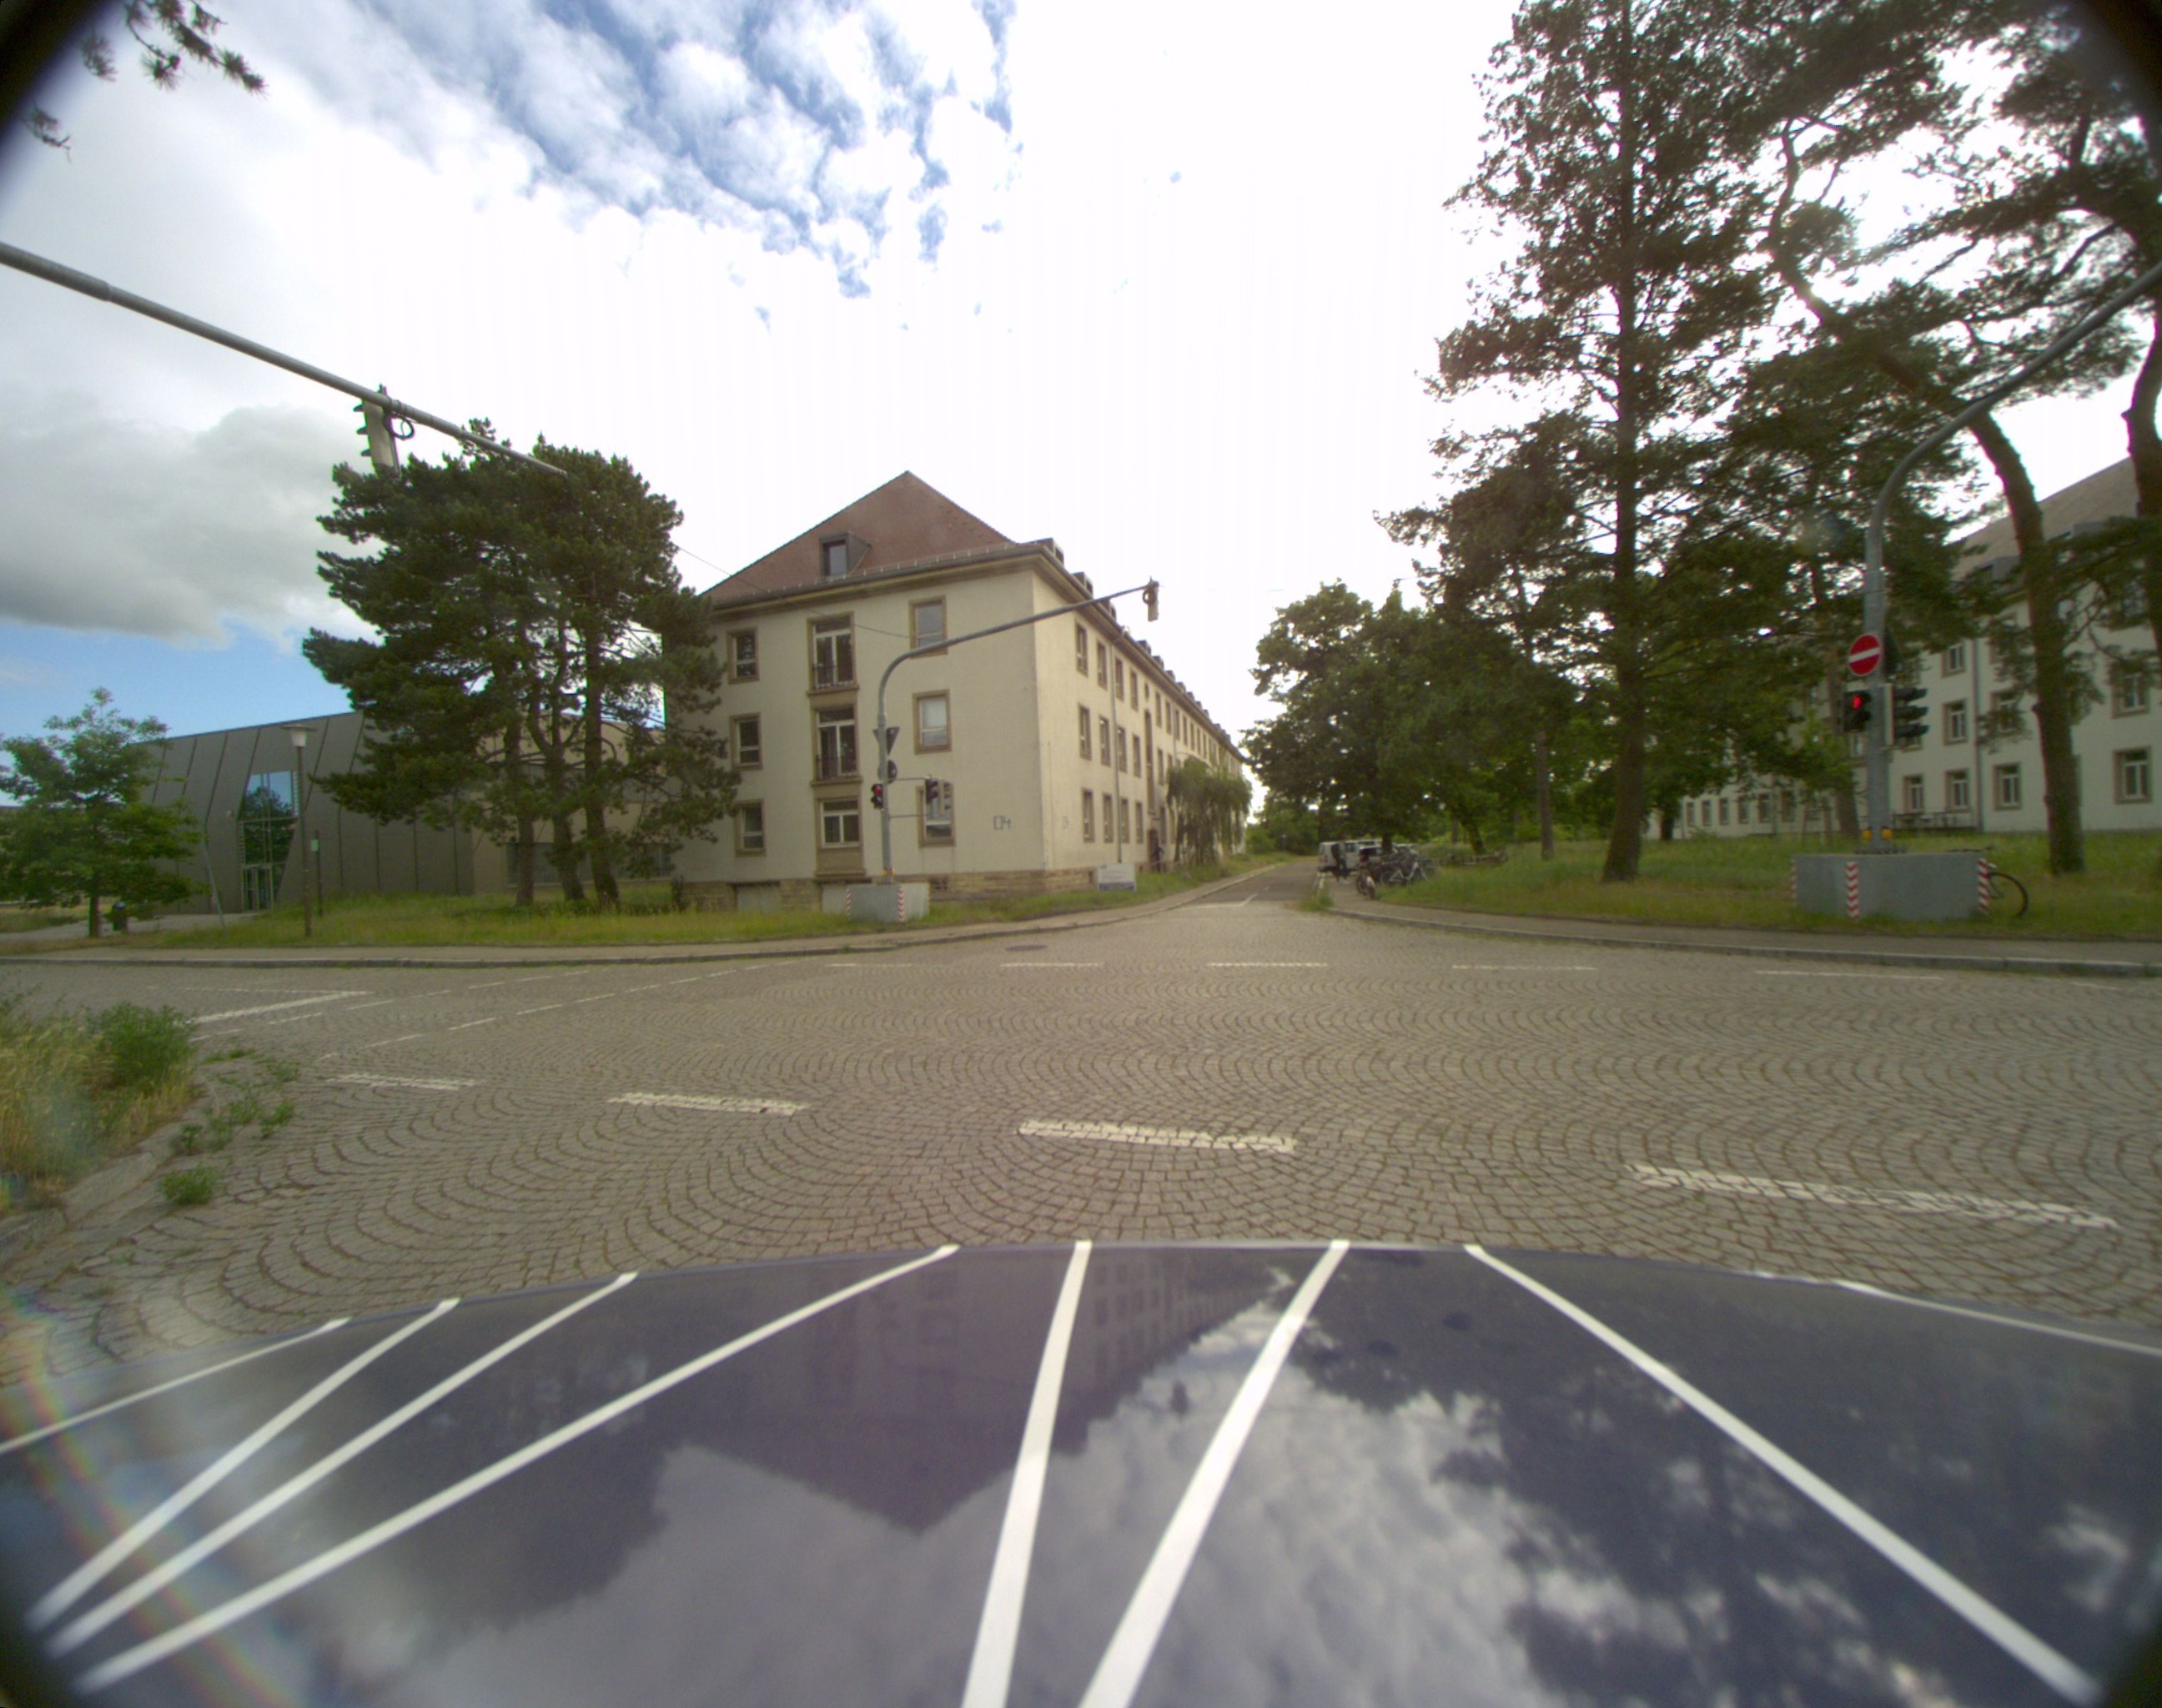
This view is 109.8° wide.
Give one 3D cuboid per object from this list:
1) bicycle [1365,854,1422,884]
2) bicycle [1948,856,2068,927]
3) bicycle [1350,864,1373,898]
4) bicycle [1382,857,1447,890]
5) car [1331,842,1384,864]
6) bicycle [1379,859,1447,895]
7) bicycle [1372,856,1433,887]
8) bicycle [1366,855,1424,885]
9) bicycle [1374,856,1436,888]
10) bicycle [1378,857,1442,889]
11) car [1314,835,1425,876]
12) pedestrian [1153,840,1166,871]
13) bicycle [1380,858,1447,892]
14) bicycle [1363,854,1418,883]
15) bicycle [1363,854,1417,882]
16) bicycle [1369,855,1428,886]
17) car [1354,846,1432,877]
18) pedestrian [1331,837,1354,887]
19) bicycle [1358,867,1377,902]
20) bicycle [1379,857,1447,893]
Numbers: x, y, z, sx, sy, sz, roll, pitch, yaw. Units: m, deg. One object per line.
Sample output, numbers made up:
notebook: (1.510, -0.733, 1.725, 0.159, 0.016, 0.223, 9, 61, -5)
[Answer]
bicycle: (12.085, 0.584, 29.437, 1.948, 1.059, 0.563, -2, 1, 16)
bicycle: (12.632, 0.492, 10.389, 0.293, 0.911, 1.053, -2, 0, -3)
bicycle: (8.608, 0.810, 23.289, 0.459, 0.968, 1.665, -2, 0, 27)
bicycle: (11.343, 0.674, 25.901, 1.948, 1.059, 0.563, -2, 1, 16)
car: (19.933, -0.048, 54.942, 3.435, 1.440, 1.916, -2, 0, 17)
bicycle: (10.598, 0.729, 24.322, 1.896, 1.059, 0.617, -2, 1, 16)
bicycle: (11.625, 0.632, 27.501, 1.948, 1.059, 0.563, -2, 1, 16)
bicycle: (11.850, 0.604, 28.749, 1.948, 1.059, 0.563, -2, 1, 16)
bicycle: (11.480, 0.646, 26.980, 1.948, 1.059, 0.563, -2, 1, 16)
bicycle: (11.412, 0.663, 26.390, 1.948, 1.059, 0.563, -2, 1, 16)
car: (15.843, 0.099, 42.013, 5.359, 1.987, 2.292, -2, 0, 10)
pedestrian: (4.399, 0.091, 42.593, 0.567, 1.691, 0.533, -2, 1, 22)
bicycle: (11.062, 0.695, 25.311, 1.948, 1.059, 0.563, -2, 1, 16)
bicycle: (12.251, 0.568, 30.096, 1.948, 1.059, 0.563, -2, 1, 16)
bicycle: (12.442, 0.550, 30.665, 1.948, 1.059, 0.563, -2, 1, 16)
bicycle: (11.696, 0.621, 28.054, 1.948, 1.059, 0.563, -2, 1, 16)
car: (15.649, 0.370, 38.251, 3.435, 1.440, 1.916, -2, 0, 17)
pedestrian: (10.377, 0.308, 30.154, 0.792, 1.926, 0.589, -2, 1, 18)
bicycle: (8.124, 0.841, 21.528, 0.459, 0.903, 1.665, -2, 0, 22)
bicycle: (10.821, 0.688, 24.833, 1.948, 1.104, 0.563, -2, 1, 16)
